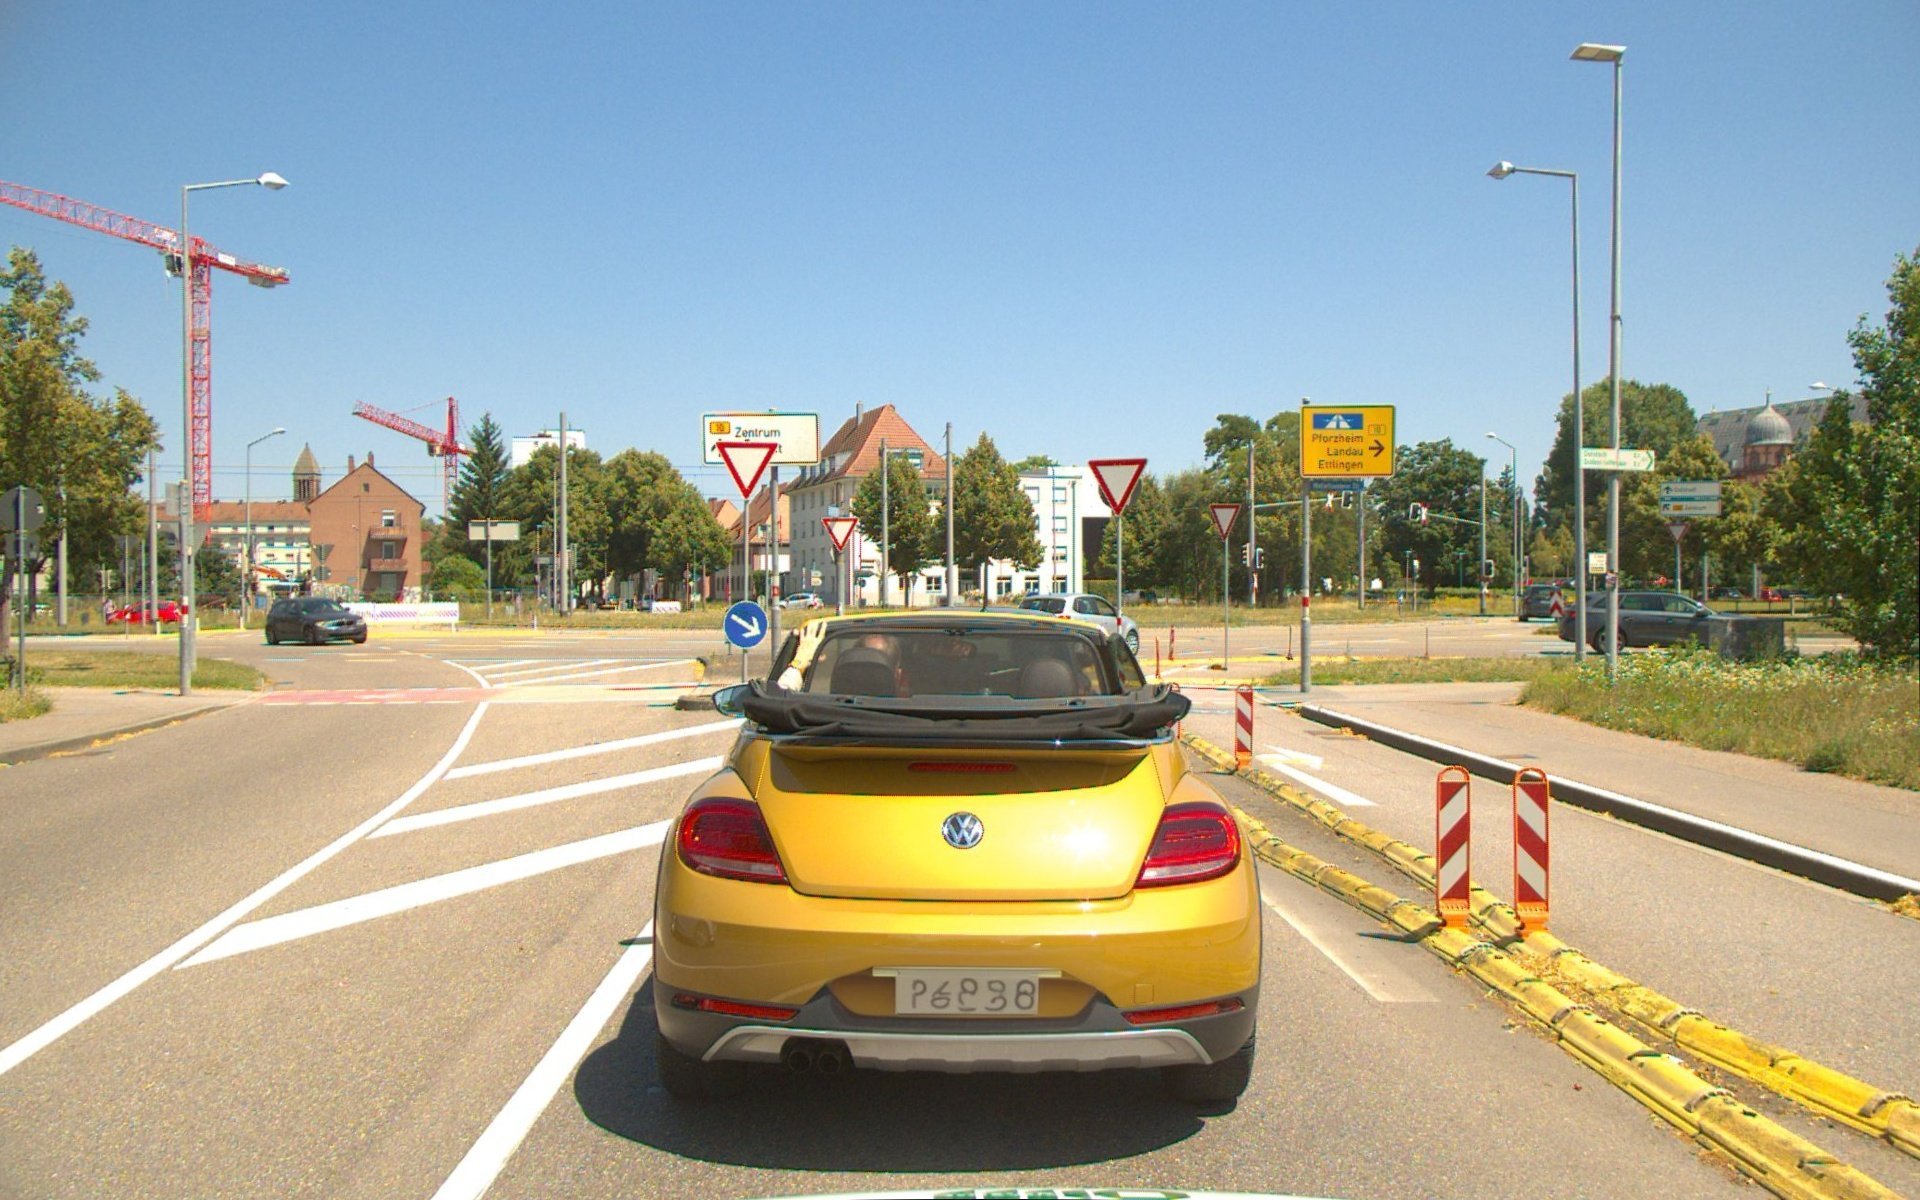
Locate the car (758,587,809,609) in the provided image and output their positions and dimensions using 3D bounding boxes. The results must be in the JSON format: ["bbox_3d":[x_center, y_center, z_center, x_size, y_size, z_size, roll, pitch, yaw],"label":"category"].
[{"bbox_3d":[-13.858,-0.117,130.200,3.909,1.646,1.998,1,0,-5],"label":"car"}]

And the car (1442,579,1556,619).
[{"bbox_3d":[21.219,-0.035,65.257,1.974,1.490,3.956,1,0,-32],"label":"car"}]

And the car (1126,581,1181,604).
[{"bbox_3d":[15.410,-0.601,131.983,3.918,1.713,1.993,1,0,-13],"label":"car"}]

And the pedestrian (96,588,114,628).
[{"bbox_3d":[-44.672,0.424,86.376,0.589,2.049,0.594,1,-1,-1],"label":"pedestrian"}]

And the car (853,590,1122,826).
[{"bbox_3d":[0.127,0.694,12.810,1.761,1.465,3.999,0,1,-2],"label":"car"}]

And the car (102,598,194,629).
[{"bbox_3d":[-41.096,0.644,83.731,4.030,1.427,1.733,-2,1,-33],"label":"car"}]

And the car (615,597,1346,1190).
[{"bbox_3d":[0.028,0.723,5.902,1.788,1.427,3.661,1,0,-1],"label":"car"}]

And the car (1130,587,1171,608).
[{"bbox_3d":[19.503,-0.212,168.898,3.902,2.049,2.001,1,0,14],"label":"car"}]

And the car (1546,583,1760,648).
[{"bbox_3d":[15.835,0.352,38.052,4.347,1.443,2.001,-1,0,17],"label":"car"}]

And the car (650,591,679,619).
[{"bbox_3d":[-22.472,0.395,125.766,1.959,2.049,3.986,1,0,-13],"label":"car"}]

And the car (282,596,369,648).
[{"bbox_3d":[-19.330,0.632,50.275,1.731,1.427,4.036,-1,1,-32],"label":"car"}]

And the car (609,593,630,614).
[{"bbox_3d":[-34.155,0.362,165.929,1.959,2.049,3.986,1,0,-13],"label":"car"}]

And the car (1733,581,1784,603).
[{"bbox_3d":[74.913,-0.768,155.192,3.923,2.049,1.991,1,0,38],"label":"car"}]

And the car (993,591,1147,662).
[{"bbox_3d":[2.494,0.539,36.554,1.744,1.447,3.991,0,1,32],"label":"car"}]
